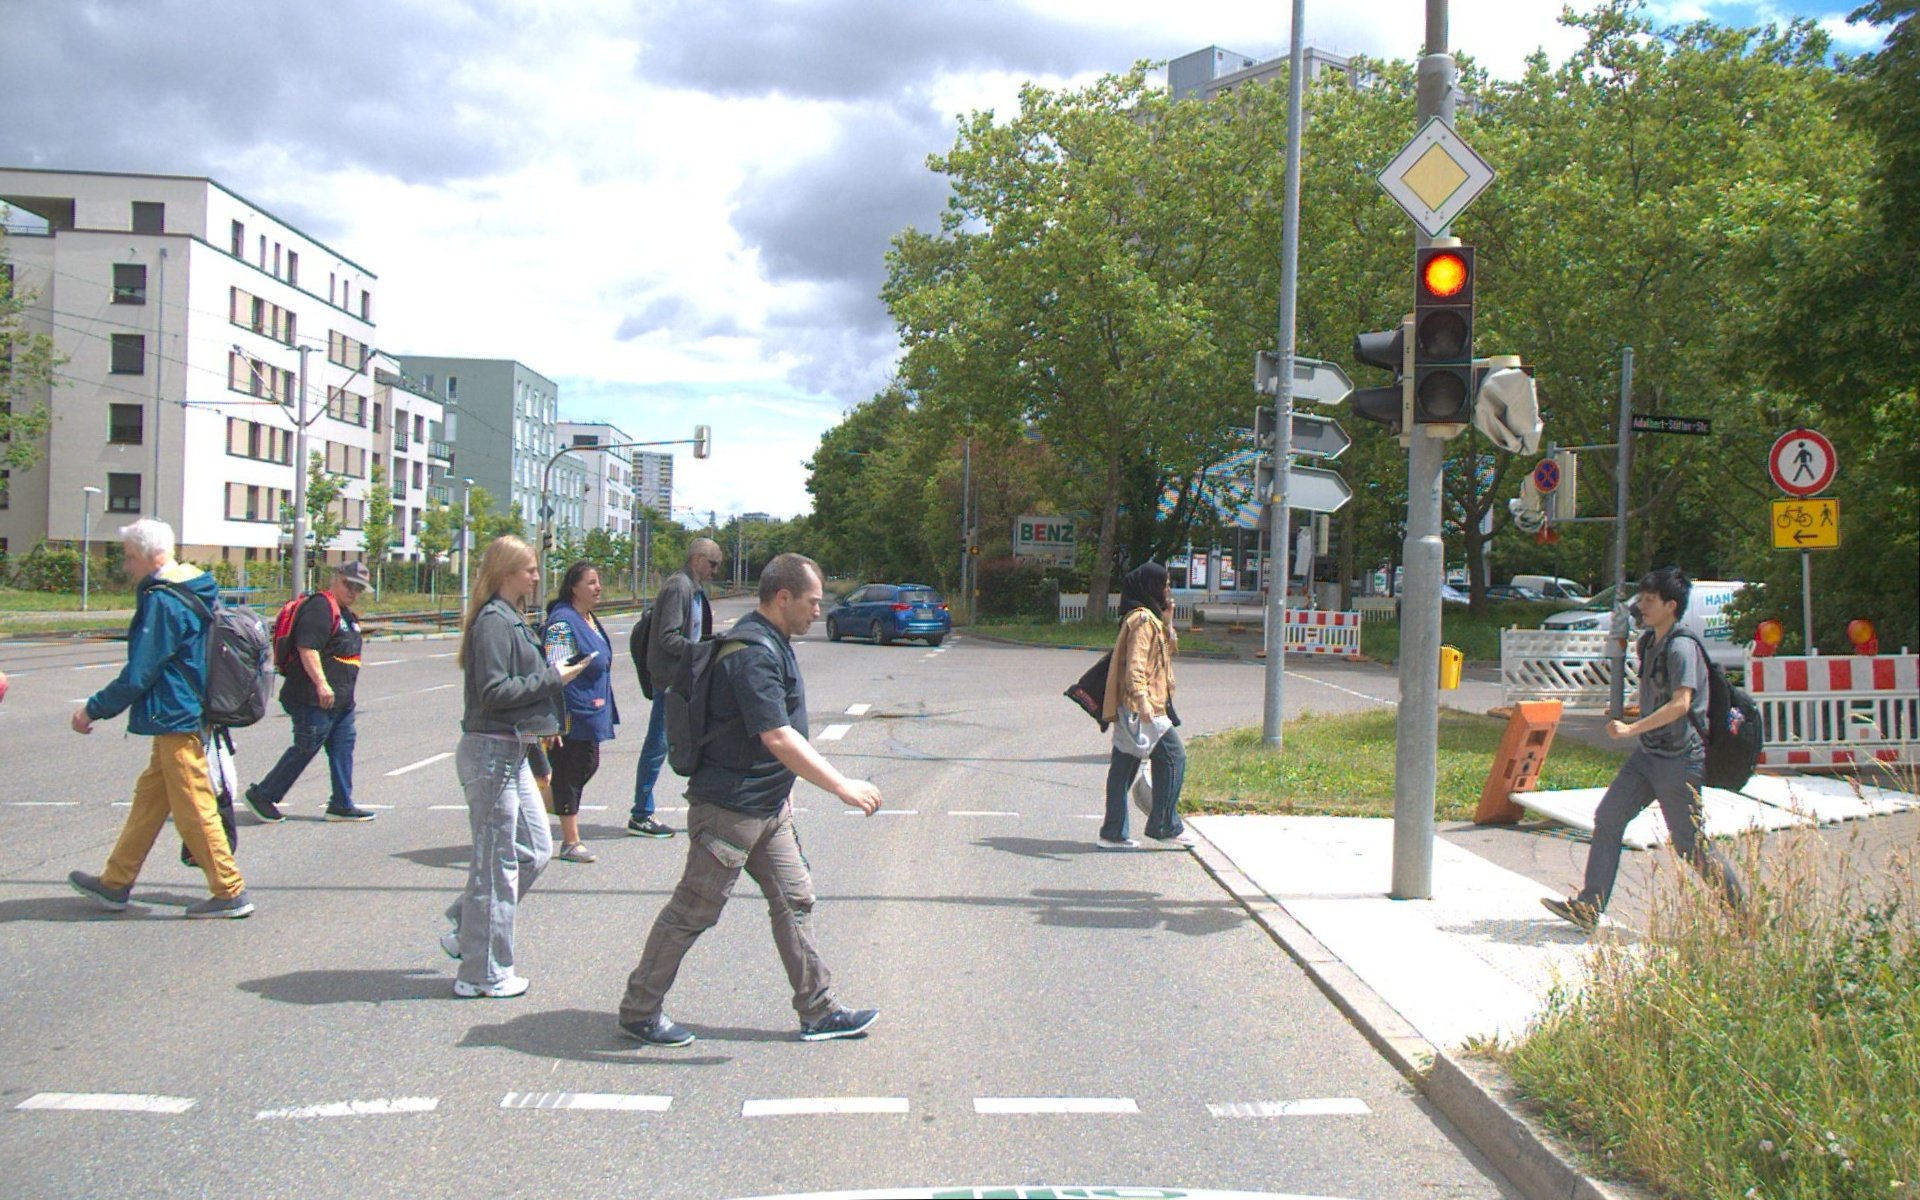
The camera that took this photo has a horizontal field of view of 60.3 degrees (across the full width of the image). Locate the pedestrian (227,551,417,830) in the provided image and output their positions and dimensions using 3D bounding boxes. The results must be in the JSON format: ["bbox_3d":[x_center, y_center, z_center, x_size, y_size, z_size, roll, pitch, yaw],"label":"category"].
[{"bbox_3d":[-3.885,0.526,10.144,0.876,1.624,0.906,1,0,-7],"label":"pedestrian"}]

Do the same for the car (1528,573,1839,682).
[{"bbox_3d":[13.424,0.494,30.858,4.976,1.906,1.947,1,0,-5],"label":"car"}]

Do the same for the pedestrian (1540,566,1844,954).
[{"bbox_3d":[3.149,0.653,7.195,0.927,1.579,0.843,1,0,-1],"label":"pedestrian"}]

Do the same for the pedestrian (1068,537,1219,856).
[{"bbox_3d":[1.052,0.536,9.656,0.766,1.773,0.828,1,0,-1],"label":"pedestrian"}]

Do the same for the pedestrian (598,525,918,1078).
[{"bbox_3d":[-0.627,0.612,5.485,0.939,1.677,0.880,1,0,-1],"label":"pedestrian"}]

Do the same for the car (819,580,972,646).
[{"bbox_3d":[-1.661,0.284,40.965,1.961,1.512,4.446,1,1,-30],"label":"car"}]

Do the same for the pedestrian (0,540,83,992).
[{"bbox_3d":[-3.782,0.573,5.928,0.863,1.582,0.746,1,0,-1],"label":"pedestrian"}]

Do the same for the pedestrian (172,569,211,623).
[{"bbox_3d":[-22.294,-0.118,47.975,0.814,1.542,0.636,1,0,-1],"label":"pedestrian"}]

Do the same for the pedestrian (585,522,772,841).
[{"bbox_3d":[-1.654,0.462,9.880,0.982,1.804,0.929,1,0,-4],"label":"pedestrian"}]

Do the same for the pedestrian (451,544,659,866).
[{"bbox_3d":[-2.151,0.534,8.912,0.894,1.635,0.929,1,0,-2],"label":"pedestrian"}]

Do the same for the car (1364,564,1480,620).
[{"bbox_3d":[17.517,-0.318,62.825,1.974,2.049,3.957,0,1,-32],"label":"car"}]

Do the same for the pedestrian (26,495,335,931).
[{"bbox_3d":[-3.436,0.471,7.398,0.991,1.805,0.947,1,0,-9],"label":"pedestrian"}]

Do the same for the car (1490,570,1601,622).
[{"bbox_3d":[23.929,-0.187,67.695,1.974,2.049,3.957,0,1,-32],"label":"car"}]

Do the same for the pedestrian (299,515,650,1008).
[{"bbox_3d":[-1.754,0.549,6.136,0.999,1.677,0.929,1,0,1],"label":"pedestrian"}]

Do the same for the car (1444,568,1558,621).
[{"bbox_3d":[21.362,-0.239,65.459,1.974,2.049,3.957,0,1,-32],"label":"car"}]
